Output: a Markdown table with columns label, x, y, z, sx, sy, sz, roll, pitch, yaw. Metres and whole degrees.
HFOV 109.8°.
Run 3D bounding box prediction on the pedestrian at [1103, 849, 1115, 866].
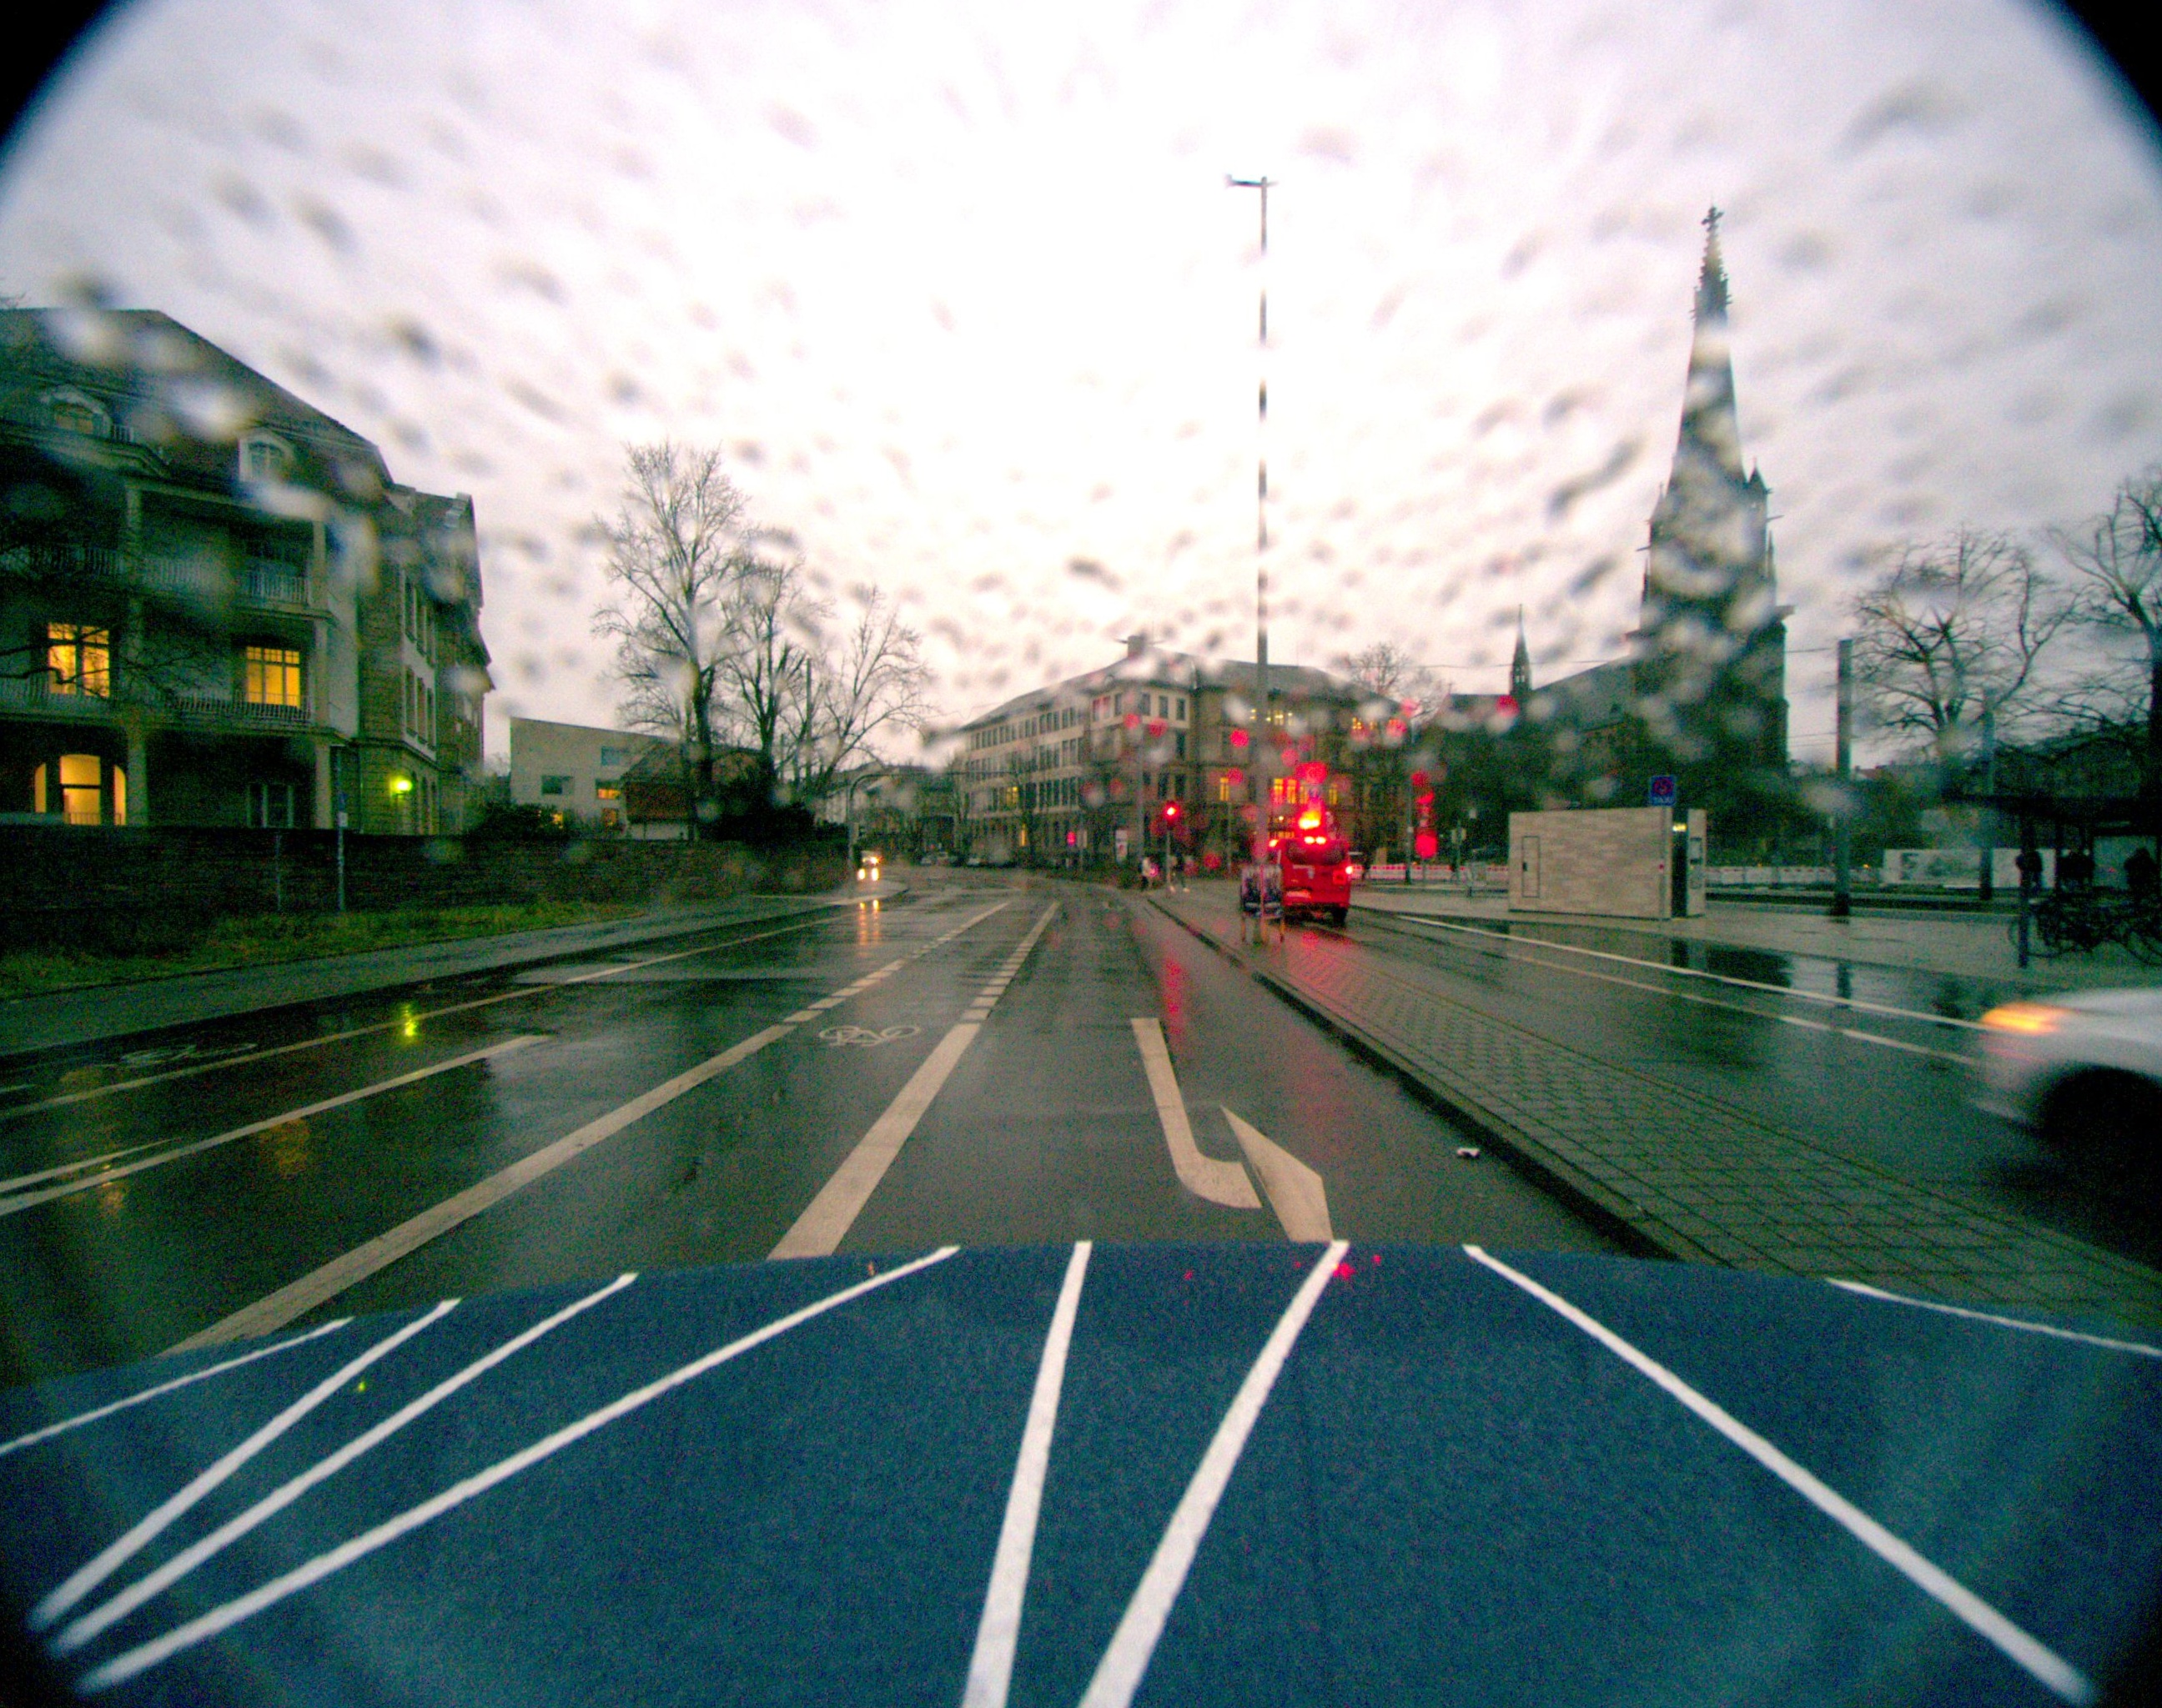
| label | x | y | z | sx | sy | sz | roll | pitch | yaw |
| --- | --- | --- | --- | --- | --- | --- | --- | --- | --- |
| pedestrian | 2.892 | 0.357 | 79.044 | 0.829 | 1.714 | 0.926 | 0 | 0 | -37 |

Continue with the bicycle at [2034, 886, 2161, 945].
| label | x | y | z | sx | sy | sz | roll | pitch | yaw |
| --- | --- | --- | --- | --- | --- | --- | --- | --- | --- |
| bicycle | 19.688 | 1.163 | 14.424 | 0.475 | 0.980 | 1.921 | -2 | 2 | -30 |

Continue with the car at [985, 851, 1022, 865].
| label | x | y | z | sx | sy | sz | roll | pitch | yaw |
| --- | --- | --- | --- | --- | --- | --- | --- | --- | --- |
| car | -9.216 | 0.484 | 90.470 | 1.797 | 1.541 | 4.007 | -1 | 1 | 45 |

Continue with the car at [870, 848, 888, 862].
| label | x | y | z | sx | sy | sz | roll | pitch | yaw |
| --- | --- | --- | --- | --- | --- | --- | --- | --- | --- |
| car | -29.084 | 0.174 | 109.246 | 1.886 | 1.835 | 3.993 | -3 | 1 | -22 |

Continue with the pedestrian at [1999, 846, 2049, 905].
| label | x | y | z | sx | sy | sz | roll | pitch | yaw |
| --- | --- | --- | --- | --- | --- | --- | --- | --- | --- |
| pedestrian | 29.353 | 0.665 | 23.654 | 0.668 | 1.785 | 0.828 | -2 | 1 | 25 |

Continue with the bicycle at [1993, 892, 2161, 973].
| label | x | y | z | sx | sy | sz | roll | pitch | yaw |
| --- | --- | --- | --- | --- | --- | --- | --- | --- | --- |
| bicycle | 15.495 | 1.175 | 11.608 | 0.475 | 1.064 | 1.921 | -2 | 2 | -30 |

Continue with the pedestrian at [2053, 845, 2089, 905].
| label | x | y | z | sx | sy | sz | roll | pitch | yaw |
| --- | --- | --- | --- | --- | --- | --- | --- | --- | --- |
| pedestrian | 30.232 | 0.637 | 23.211 | 0.673 | 1.785 | 0.626 | -3 | 2 | -41 |

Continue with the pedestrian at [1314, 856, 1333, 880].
| label | x | y | z | sx | sy | sz | roll | pitch | yaw |
| --- | --- | --- | --- | --- | --- | --- | --- | --- | --- |
| pedestrian | 17.518 | 0.997 | 54.903 | 0.774 | 1.651 | 1.206 | -2 | 1 | -13 |

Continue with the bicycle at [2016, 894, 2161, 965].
| label | x | y | z | sx | sy | sz | roll | pitch | yaw |
| --- | --- | --- | --- | --- | --- | --- | --- | --- | --- |
| bicycle | 16.613 | 1.208 | 12.212 | 0.475 | 0.980 | 1.921 | -2 | 2 | -30 |

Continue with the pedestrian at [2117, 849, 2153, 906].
| label | x | y | z | sx | sy | sz | roll | pitch | yaw |
| --- | --- | --- | --- | --- | --- | --- | --- | --- | --- |
| pedestrian | 31.045 | 0.686 | 22.382 | 0.541 | 1.642 | 0.562 | -3 | 2 | -41 |

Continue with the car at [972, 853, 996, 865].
| label | x | y | z | sx | sy | sz | roll | pitch | yaw |
| --- | --- | --- | --- | --- | --- | --- | --- | --- | --- |
| car | -12.135 | 0.580 | 95.305 | 1.706 | 1.298 | 3.647 | -2 | 1 | 16 |

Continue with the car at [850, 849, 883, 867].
| label | x | y | z | sx | sy | sz | roll | pitch | yaw |
| --- | --- | --- | --- | --- | --- | --- | --- | --- | --- |
| car | -25.006 | 0.490 | 88.426 | 2.003 | 2.002 | 4.878 | -3 | 1 | -36 |

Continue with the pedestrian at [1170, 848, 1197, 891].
| label | x | y | z | sx | sy | sz | roll | pitch | yaw |
| --- | --- | --- | --- | --- | --- | --- | --- | --- | --- |
| pedestrian | 4.580 | 0.701 | 33.912 | 1.000 | 1.890 | 0.673 | 1 | 1 | -10 |

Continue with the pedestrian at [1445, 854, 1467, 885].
| label | x | y | z | sx | sy | sz | roll | pitch | yaw |
| --- | --- | --- | --- | --- | --- | --- | --- | --- | --- |
| pedestrian | 23.252 | 0.954 | 47.156 | 0.675 | 1.890 | 0.971 | 0 | 1 | -36 |

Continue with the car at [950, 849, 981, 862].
| label | x | y | z | sx | sy | sz | roll | pitch | yaw |
| --- | --- | --- | --- | --- | --- | --- | --- | --- | --- |
| car | -15.091 | 0.206 | 99.404 | 1.797 | 1.541 | 4.007 | -2 | 1 | 28 |

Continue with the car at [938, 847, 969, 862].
| label | x | y | z | sx | sy | sz | roll | pitch | yaw |
| --- | --- | --- | --- | --- | --- | --- | --- | --- | --- |
| car | -16.996 | 0.082 | 101.469 | 2.043 | 1.889 | 4.007 | -2 | 1 | 28 |

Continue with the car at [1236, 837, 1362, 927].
| label | x | y | z | sx | sy | sz | roll | pitch | yaw |
| --- | --- | --- | --- | --- | --- | --- | --- | --- | --- |
| car | 5.517 | 0.652 | 19.926 | 1.929 | 2.058 | 4.643 | 1 | 0 | 0 |

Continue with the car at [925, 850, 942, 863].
| label | x | y | z | sx | sy | sz | roll | pitch | yaw |
| --- | --- | --- | --- | --- | --- | --- | --- | --- | --- |
| car | -20.736 | 0.379 | 106.844 | 2.000 | 1.660 | 3.997 | -2 | 1 | -7 |

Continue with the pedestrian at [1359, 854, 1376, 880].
| label | x | y | z | sx | sy | sz | roll | pitch | yaw |
| --- | --- | --- | --- | --- | --- | --- | --- | --- | --- |
| pedestrian | 20.267 | 0.906 | 53.734 | 0.675 | 1.806 | 0.895 | 0 | 1 | -37 |

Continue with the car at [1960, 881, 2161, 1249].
| label | x | y | z | sx | sy | sz | roll | pitch | yaw |
| --- | --- | --- | --- | --- | --- | --- | --- | --- | --- |
| car | 5.284 | 0.910 | 1.890 | 1.744 | 1.440 | 3.712 | 2 | 1 | -3 |

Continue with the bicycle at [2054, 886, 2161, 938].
| label | x | y | z | sx | sy | sz | roll | pitch | yaw |
| --- | --- | --- | --- | --- | --- | --- | --- | --- | --- |
| bicycle | 20.844 | 1.155 | 15.013 | 0.475 | 0.905 | 1.921 | -2 | 2 | -30 |

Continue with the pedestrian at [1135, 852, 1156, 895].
| label | x | y | z | sx | sy | sz | roll | pitch | yaw |
| --- | --- | --- | --- | --- | --- | --- | --- | --- | --- |
| pedestrian | 2.615 | 0.788 | 30.853 | 0.798 | 1.713 | 0.674 | 1 | 1 | 0 |
